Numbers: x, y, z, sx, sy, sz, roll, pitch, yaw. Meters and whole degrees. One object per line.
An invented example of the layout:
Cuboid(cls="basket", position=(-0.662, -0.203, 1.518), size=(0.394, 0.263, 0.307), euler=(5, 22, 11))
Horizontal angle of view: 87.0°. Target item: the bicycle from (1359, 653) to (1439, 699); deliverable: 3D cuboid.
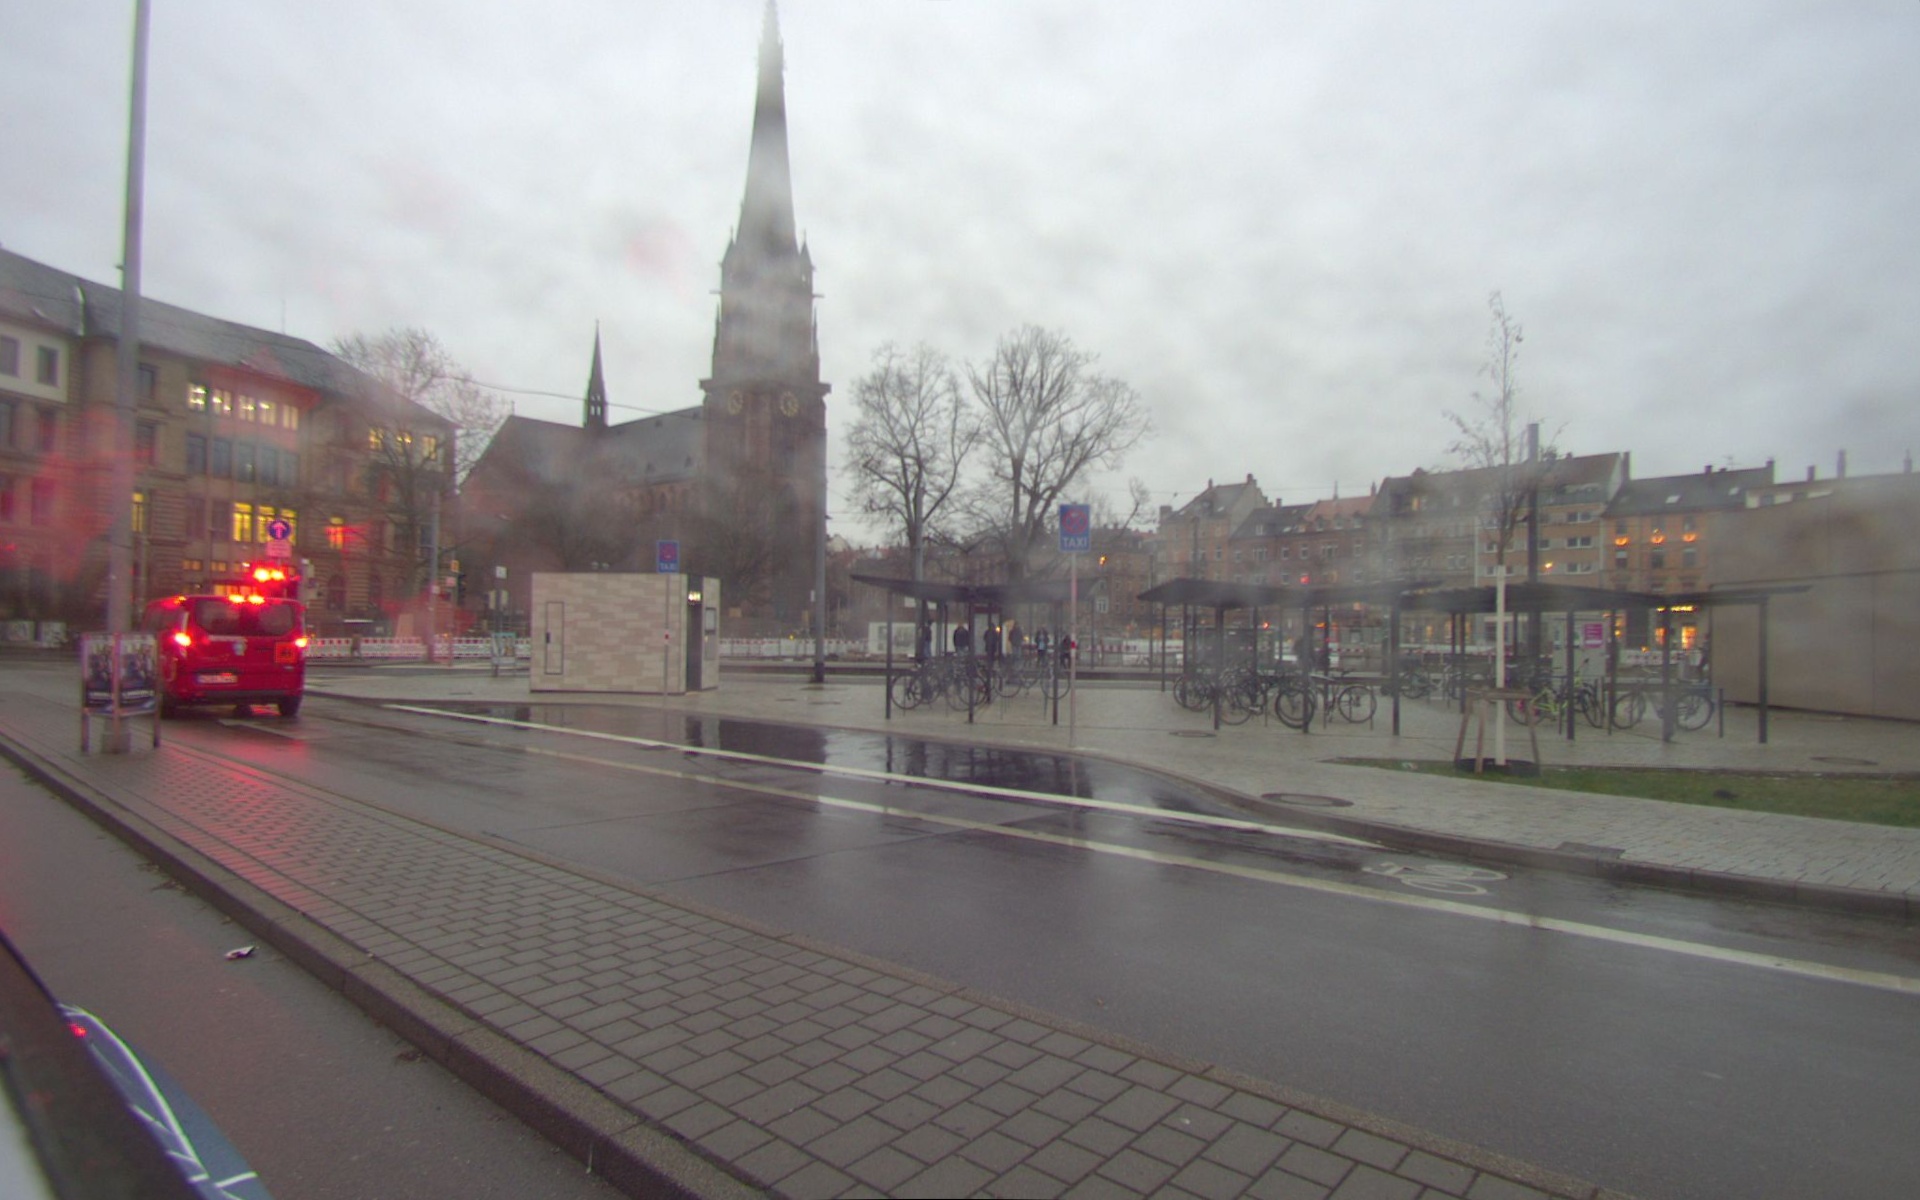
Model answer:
Cuboid(cls="bicycle", position=(11.182, 1.927, 25.803), size=(1.780, 1.116, 0.473), euler=(1, -1, 11))

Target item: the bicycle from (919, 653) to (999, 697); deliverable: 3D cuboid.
Cuboid(cls="bicycle", position=(-0.017, 1.831, 24.870), size=(1.905, 0.993, 0.473), euler=(1, -1, 11))

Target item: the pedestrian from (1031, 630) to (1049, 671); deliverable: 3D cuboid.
Cuboid(cls="pedestrian", position=(3.031, 1.913, 38.333), size=(0.580, 1.513, 0.675), euler=(-1, 0, -1))

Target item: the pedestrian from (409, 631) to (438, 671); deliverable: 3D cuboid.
Cuboid(cls="pedestrian", position=(-26.177, 2.471, 49.370), size=(0.960, 1.915, 0.674), euler=(1, -2, 1))

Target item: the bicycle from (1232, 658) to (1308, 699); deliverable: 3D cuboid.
Cuboid(cls="bicycle", position=(7.660, 1.944, 25.071), size=(1.729, 0.946, 0.474), euler=(1, -1, 7))

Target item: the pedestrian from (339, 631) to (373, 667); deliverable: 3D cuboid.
Cuboid(cls="pedestrian", position=(-28.649, 2.327, 47.991), size=(1.198, 1.673, 0.769), euler=(-1, 0, 18))

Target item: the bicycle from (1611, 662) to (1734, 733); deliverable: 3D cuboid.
Cuboid(cls="bicycle", position=(12.688, 1.727, 18.047), size=(1.731, 1.165, 0.617), euler=(1, -1, 1))

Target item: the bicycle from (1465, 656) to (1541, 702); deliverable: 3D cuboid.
Cuboid(cls="bicycle", position=(13.231, 1.919, 24.666), size=(1.551, 1.044, 0.521), euler=(1, -1, 1))

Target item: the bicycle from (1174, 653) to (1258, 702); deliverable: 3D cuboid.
Cuboid(cls="bicycle", position=(6.062, 1.831, 24.041), size=(1.905, 1.078, 0.473), euler=(1, -1, 11))

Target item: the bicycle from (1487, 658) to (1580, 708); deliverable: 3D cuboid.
Cuboid(cls="bicycle", position=(13.251, 1.912, 23.419), size=(1.810, 1.081, 0.474), euler=(1, -1, 8))

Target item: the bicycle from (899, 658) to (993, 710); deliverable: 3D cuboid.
Cuboid(cls="bicycle", position=(-0.289, 1.736, 21.105), size=(1.905, 0.993, 0.473), euler=(1, -1, 11))

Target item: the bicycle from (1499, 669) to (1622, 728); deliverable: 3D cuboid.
Cuboid(cls="bicycle", position=(11.124, 1.816, 18.785), size=(1.905, 0.983, 0.473), euler=(1, -1, 11))

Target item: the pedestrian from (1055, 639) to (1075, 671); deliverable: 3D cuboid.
Cuboid(cls="pedestrian", position=(3.978, 2.075, 38.325), size=(0.610, 1.165, 0.806), euler=(-1, 0, -1))

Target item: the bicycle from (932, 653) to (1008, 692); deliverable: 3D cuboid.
Cuboid(cls="bicycle", position=(0.269, 1.870, 26.127), size=(1.905, 0.917, 0.473), euler=(1, -1, 11))

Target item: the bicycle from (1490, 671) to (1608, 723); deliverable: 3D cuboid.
Cuboid(cls="bicycle", position=(11.366, 1.865, 19.573), size=(1.905, 0.898, 0.473), euler=(1, -1, 11))

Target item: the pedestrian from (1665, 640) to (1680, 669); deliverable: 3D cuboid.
Cuboid(cls="pedestrian", position=(50.837, 3.886, 72.160), size=(0.579, 2.029, 0.707), euler=(3, -4, -40))

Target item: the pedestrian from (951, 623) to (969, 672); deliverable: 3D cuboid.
Cuboid(cls="pedestrian", position=(0.002, 1.805, 38.579), size=(0.619, 1.808, 0.672), euler=(-1, 0, -1))

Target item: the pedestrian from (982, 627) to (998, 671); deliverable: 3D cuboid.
Cuboid(cls="pedestrian", position=(1.146, 1.862, 38.652), size=(0.556, 1.664, 0.540), euler=(-1, 0, -1))

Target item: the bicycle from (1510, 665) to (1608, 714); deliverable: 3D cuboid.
Cuboid(cls="bicycle", position=(12.899, 1.922, 21.832), size=(1.751, 0.963, 0.473), euler=(1, -1, 11))

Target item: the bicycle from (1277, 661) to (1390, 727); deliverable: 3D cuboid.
Cuboid(cls="bicycle", position=(6.944, 1.737, 18.867), size=(1.905, 1.129, 0.473), euler=(1, -1, 11))

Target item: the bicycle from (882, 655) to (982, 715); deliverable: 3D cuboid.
Cuboid(cls="bicycle", position=(-0.540, 1.655, 19.868), size=(1.905, 1.078, 0.473), euler=(1, -1, 11))

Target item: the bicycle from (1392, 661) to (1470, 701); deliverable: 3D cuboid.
Cuboid(cls="bicycle", position=(11.619, 1.994, 24.993), size=(1.672, 0.898, 0.474), euler=(1, -1, 5))

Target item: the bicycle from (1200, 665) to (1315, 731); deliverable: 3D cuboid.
Cuboid(cls="bicycle", position=(5.255, 1.722, 17.957), size=(1.905, 1.078, 0.473), euler=(1, -1, 11))

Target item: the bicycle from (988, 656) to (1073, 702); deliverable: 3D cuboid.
Cuboid(cls="bicycle", position=(1.638, 1.824, 23.424), size=(1.905, 0.993, 0.473), euler=(1, -1, 11))

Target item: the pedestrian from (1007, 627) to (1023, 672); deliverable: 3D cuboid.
Cuboid(cls="pedestrian", position=(2.065, 1.858, 38.114), size=(0.543, 1.648, 0.571), euler=(-1, 0, -1))

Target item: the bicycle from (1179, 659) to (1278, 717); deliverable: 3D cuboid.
Cuboid(cls="bicycle", position=(5.443, 1.777, 20.618), size=(1.905, 1.078, 0.473), euler=(1, -1, 11))

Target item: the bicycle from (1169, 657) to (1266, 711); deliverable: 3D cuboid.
Cuboid(cls="bicycle", position=(5.429, 1.775, 21.402), size=(1.899, 1.078, 0.474), euler=(1, -1, 2))

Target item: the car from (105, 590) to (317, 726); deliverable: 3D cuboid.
Cuboid(cls="car", position=(-13.202, 0.972, 17.734), size=(4.640, 2.086, 1.904), euler=(-1, -4, 40))

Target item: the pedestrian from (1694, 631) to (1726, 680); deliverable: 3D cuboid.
Cuboid(cls="pedestrian", position=(26.370, 1.945, 35.579), size=(0.691, 1.679, 0.528), euler=(0, -3, 1))

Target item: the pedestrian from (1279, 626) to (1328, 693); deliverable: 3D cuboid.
Cuboid(cls="pedestrian", position=(9.298, 1.596, 27.432), size=(1.054, 1.778, 1.009), euler=(0, -3, 7))

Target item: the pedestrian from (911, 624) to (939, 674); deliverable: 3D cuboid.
Cuboid(cls="pedestrian", position=(-1.311, 1.822, 37.506), size=(0.822, 1.808, 0.664), euler=(-1, 0, 24))
